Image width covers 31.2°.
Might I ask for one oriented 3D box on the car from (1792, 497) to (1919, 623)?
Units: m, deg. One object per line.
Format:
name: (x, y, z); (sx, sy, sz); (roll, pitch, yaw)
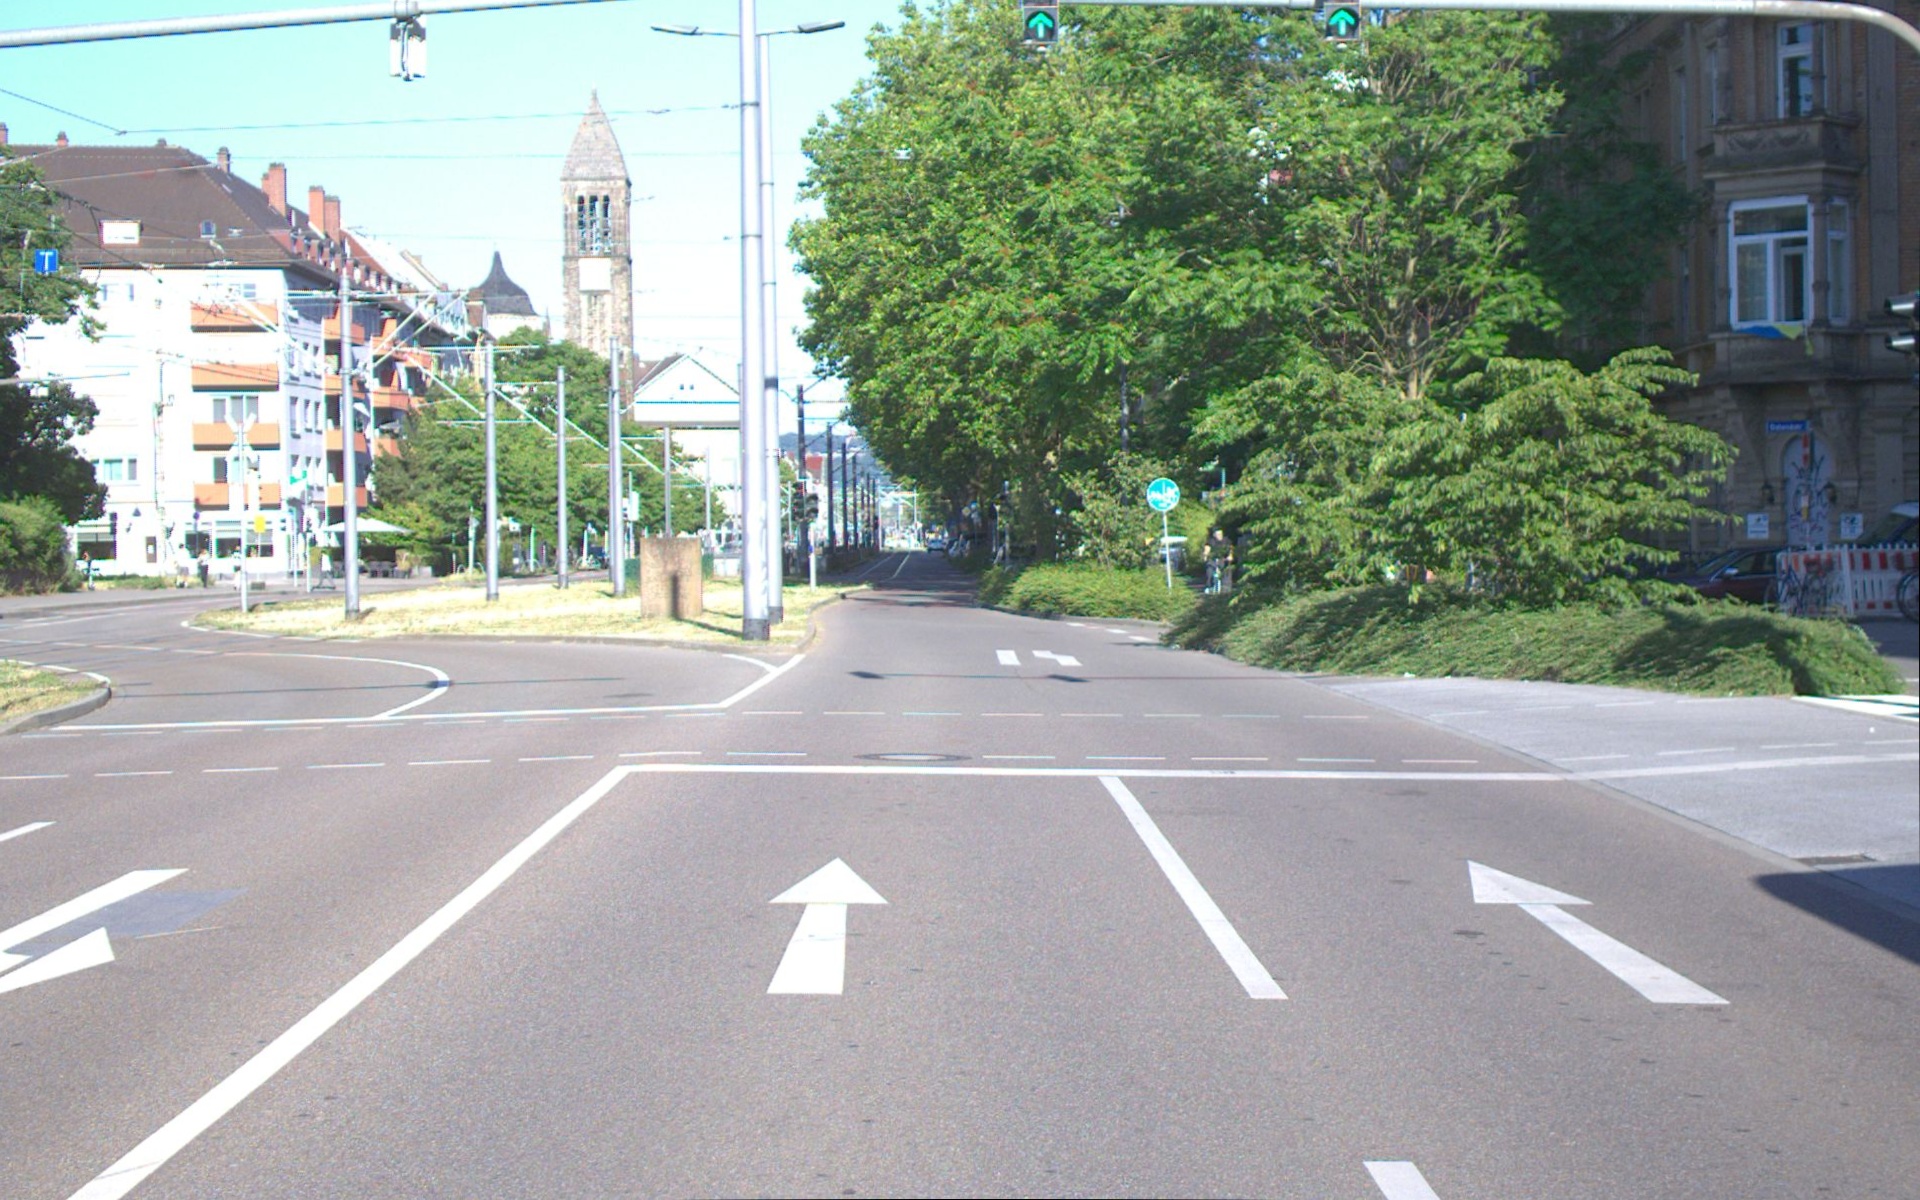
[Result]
car: (17.167, -0.729, 60.466); (4.576, 2.117, 1.776); (0, 4, -2)

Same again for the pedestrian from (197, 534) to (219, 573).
pedestrian: (-29.957, -1.851, 136.975); (0.589, 1.462, 0.916); (-2, 4, 0)

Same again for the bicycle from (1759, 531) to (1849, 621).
bicycle: (11.987, -0.332, 48.891); (0.489, 1.234, 1.890); (-2, 0, -10)

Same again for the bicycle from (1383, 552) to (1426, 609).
bicycle: (8.578, -0.385, 66.429); (0.525, 0.985, 1.722); (-2, 4, -2)

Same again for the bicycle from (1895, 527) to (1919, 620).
bicycle: (13.563, -0.388, 46.187); (1.883, 1.234, 0.491); (-2, 0, -13)

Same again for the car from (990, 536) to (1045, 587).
car: (1.824, -1.245, 109.621); (1.643, 1.506, 4.183); (-2, 1, 0)

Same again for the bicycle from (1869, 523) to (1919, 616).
bicycle: (13.344, -0.431, 46.661); (1.883, 1.234, 0.491); (-2, 0, -13)

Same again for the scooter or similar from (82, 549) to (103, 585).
scooter or similar: (-32.168, -1.232, 127.492); (0.401, 1.256, 1.231); (-2, 4, 0)

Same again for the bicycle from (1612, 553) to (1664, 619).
bicycle: (12.068, -0.251, 61.206); (0.518, 1.044, 1.821); (-2, 4, -1)

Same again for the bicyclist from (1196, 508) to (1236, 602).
bicyclist: (5.025, -0.877, 67.551); (0.641, 1.808, 1.052); (-2, 0, -1)

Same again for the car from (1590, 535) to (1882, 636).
car: (12.407, -0.246, 55.120); (4.250, 1.410, 1.813); (-1, 4, -1)

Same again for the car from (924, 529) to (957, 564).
car: (-1.238, -3.413, 219.195); (1.993, 2.100, 4.000); (1, 0, 0)

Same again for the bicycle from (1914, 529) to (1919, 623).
bicycle: (13.493, -0.351, 44.982); (1.883, 1.234, 0.491); (-2, 0, -13)

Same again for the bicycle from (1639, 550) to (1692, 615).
bicycle: (12.694, -0.317, 61.898); (0.518, 1.044, 1.821); (-2, 4, -1)

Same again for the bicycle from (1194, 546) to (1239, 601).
bicycle: (5.030, -0.510, 67.544); (0.641, 1.044, 2.360); (-2, 0, -1)

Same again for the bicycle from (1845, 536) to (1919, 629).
bicycle: (13.162, -0.256, 47.211); (1.883, 1.234, 0.491); (-2, 0, -13)

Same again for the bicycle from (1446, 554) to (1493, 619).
bicycle: (9.217, -0.251, 62.203); (0.518, 1.044, 1.821); (-2, 4, -1)

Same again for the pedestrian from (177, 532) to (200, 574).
pedestrian: (-30.747, -1.886, 136.967); (0.644, 1.593, 0.898); (-2, 4, 0)

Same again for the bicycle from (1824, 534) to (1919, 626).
bicycle: (13.010, -0.291, 47.795); (1.883, 1.234, 0.491); (-2, 0, -13)

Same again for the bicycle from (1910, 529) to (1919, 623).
bicycle: (13.602, -0.349, 45.600); (1.883, 1.234, 0.491); (-2, 0, -13)
